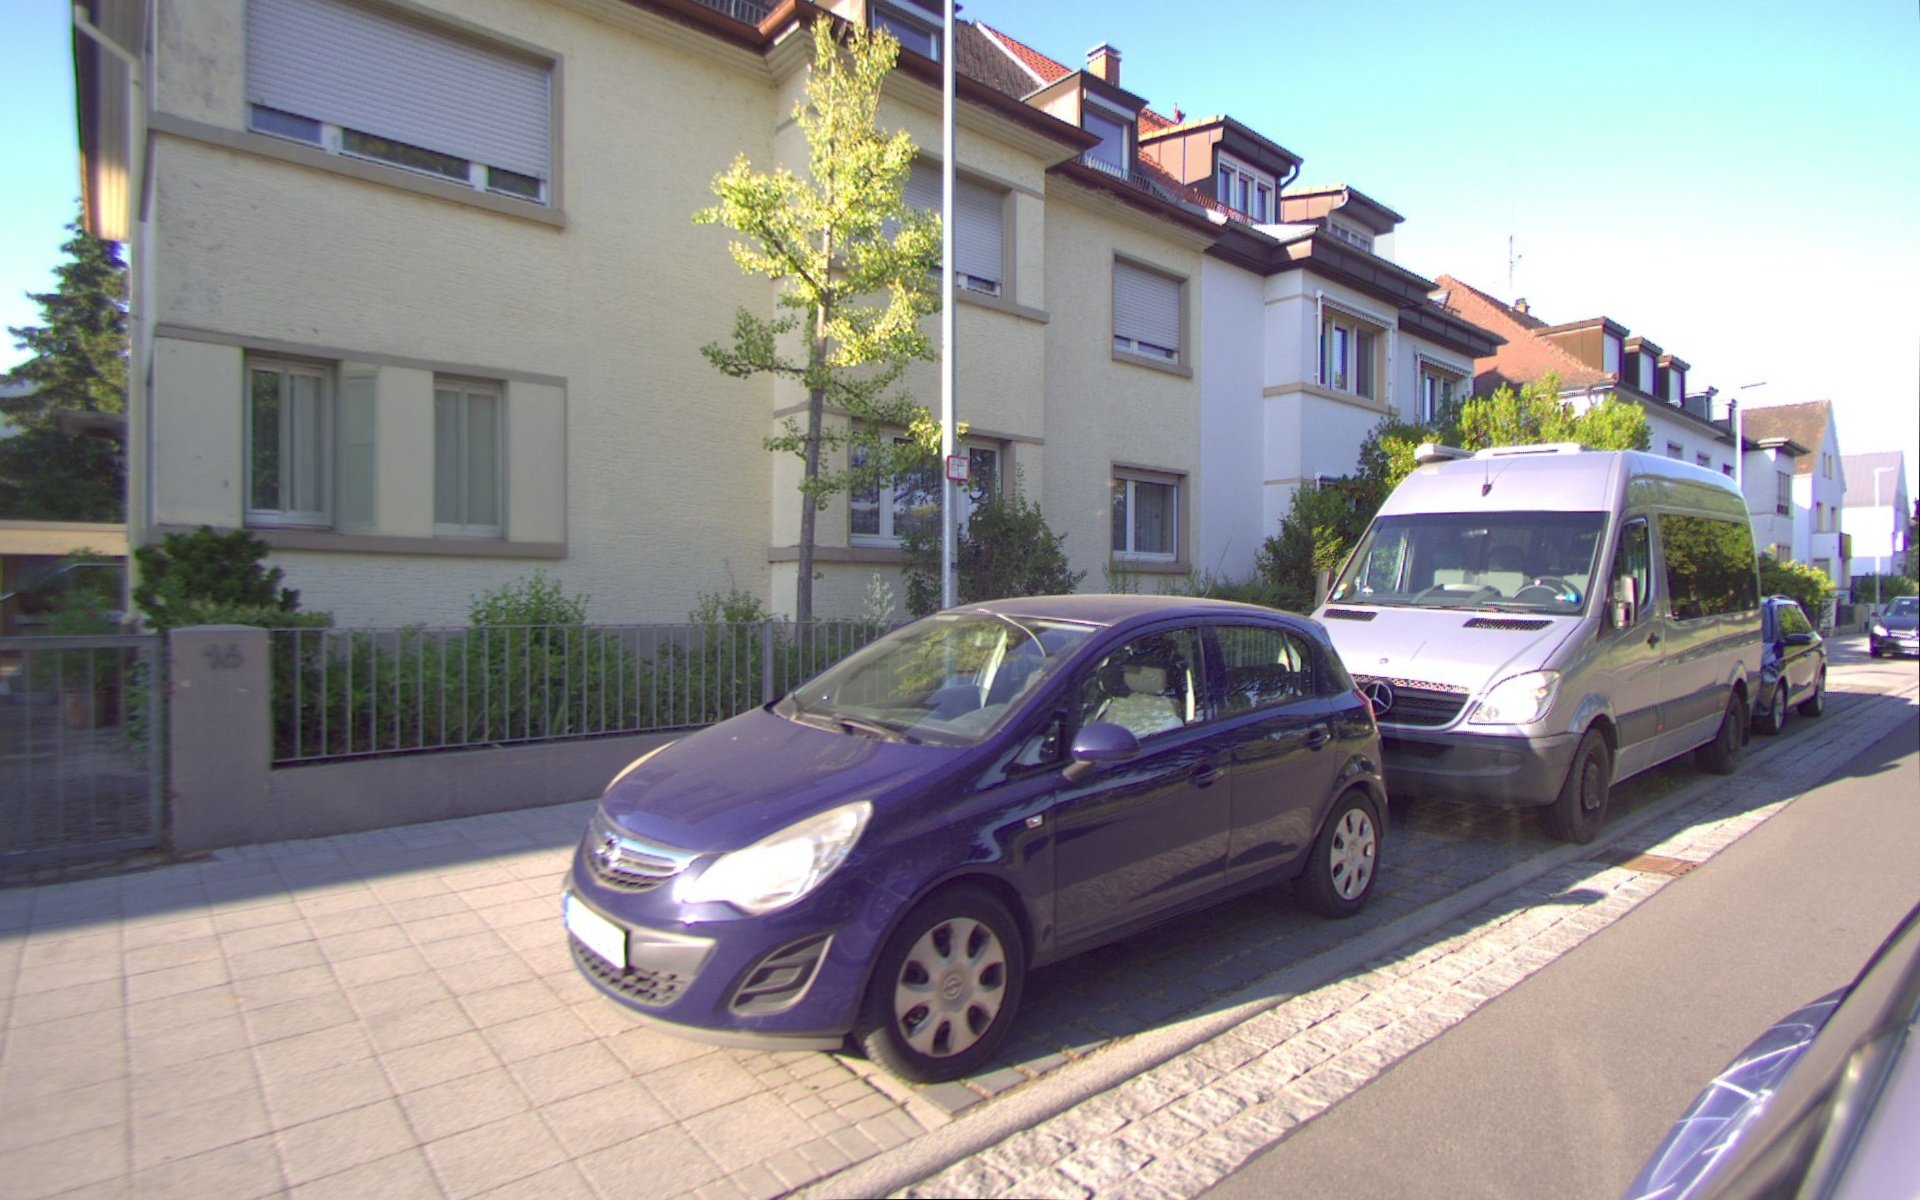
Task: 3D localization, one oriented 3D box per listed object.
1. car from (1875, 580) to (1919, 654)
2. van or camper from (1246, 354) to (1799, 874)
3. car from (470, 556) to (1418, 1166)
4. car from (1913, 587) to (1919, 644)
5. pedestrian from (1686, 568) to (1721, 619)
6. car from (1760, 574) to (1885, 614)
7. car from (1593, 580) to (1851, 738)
[{"bbox_3d":[24.811,0.412,25.652,4.339,1.705,1.836,-1,4,-41],"label":"car"},{"bbox_3d":[4.839,0.022,8.136,5.836,2.812,1.946,-2,0,-41],"label":"van or camper"},{"bbox_3d":[0.222,0.573,4.323,3.899,1.428,1.625,-1,4,-41],"label":"car"},{"bbox_3d":[29.183,0.441,29.606,4.141,1.593,1.719,-1,3,-45],"label":"car"},{"bbox_3d":[23.639,-0.196,32.163,0.617,1.598,0.598,-1,-1,-15],"label":"pedestrian"},{"bbox_3d":[39.419,-0.299,46.314,1.823,1.747,4.221,-1,1,-44],"label":"car"},{"bbox_3d":[9.336,0.596,12.283,4.014,1.613,1.666,-1,-1,-41],"label":"car"}]
